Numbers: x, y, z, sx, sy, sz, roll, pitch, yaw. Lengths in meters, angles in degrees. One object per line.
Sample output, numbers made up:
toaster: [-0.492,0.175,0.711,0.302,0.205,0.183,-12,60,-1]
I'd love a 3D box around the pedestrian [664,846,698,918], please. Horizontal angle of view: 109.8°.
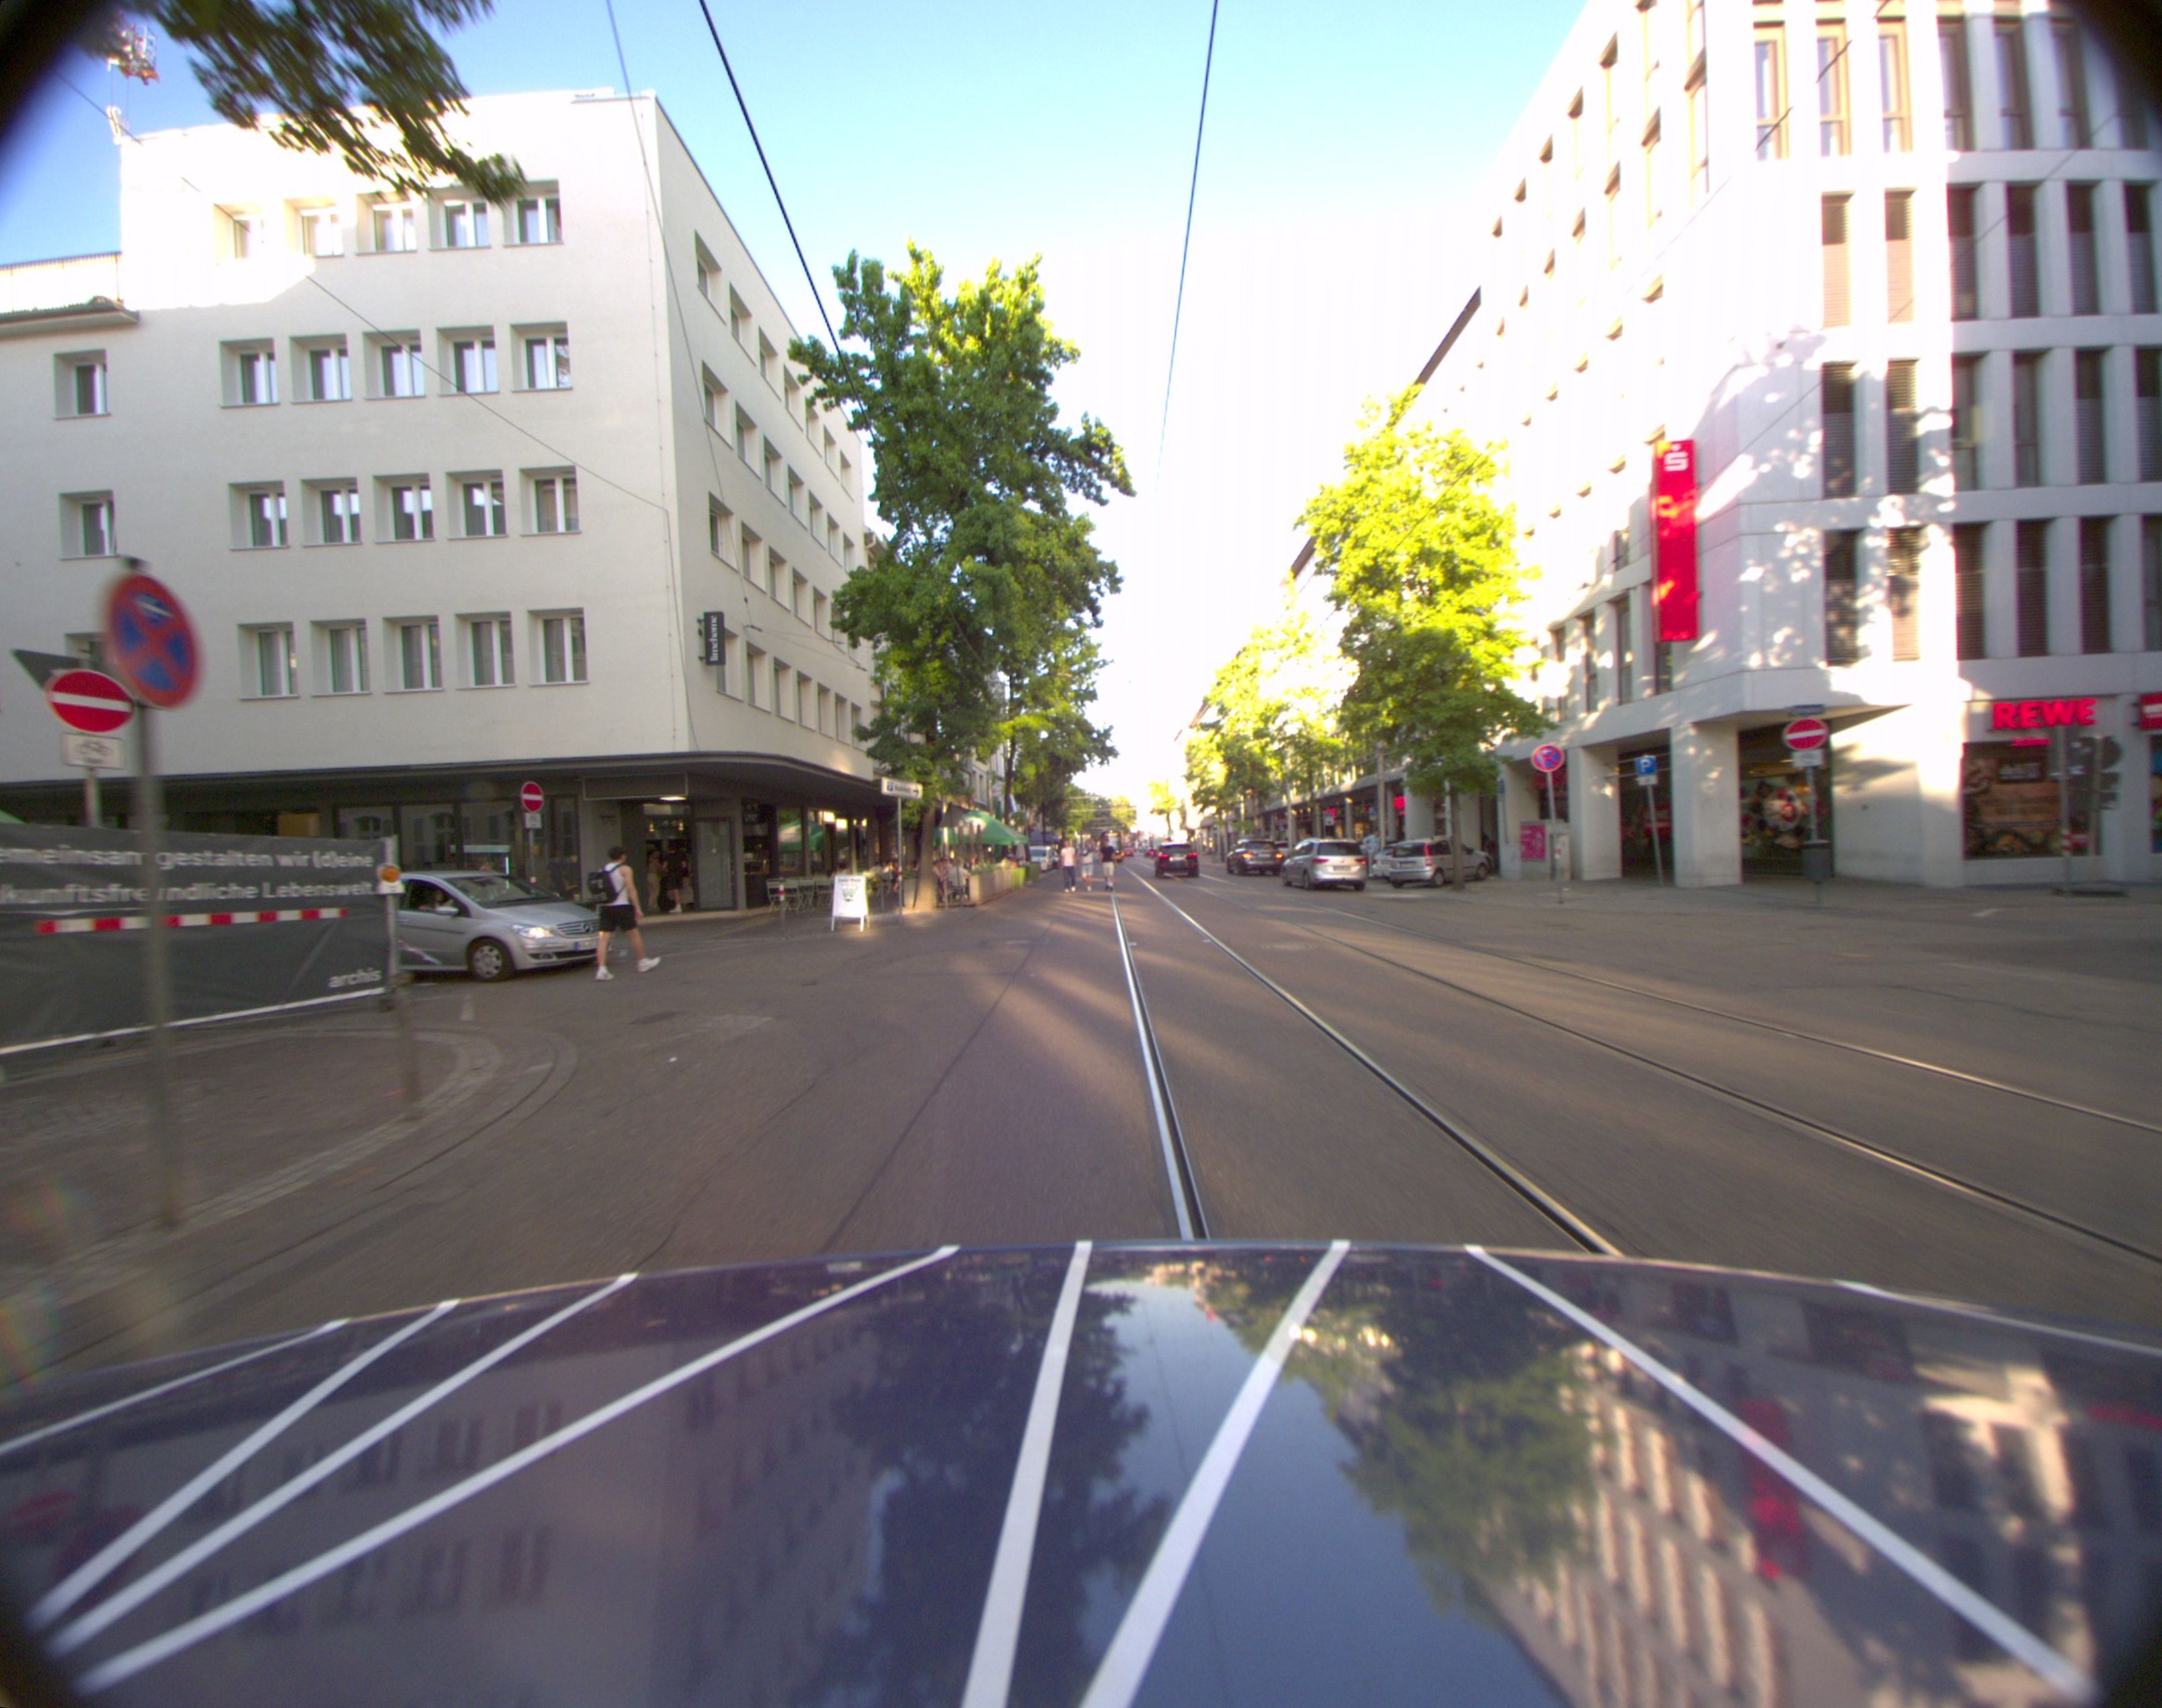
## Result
pedestrian: [-10.799,0.736,20.508,0.725,1.898,0.569,-2,1,-27]

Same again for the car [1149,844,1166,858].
car: [9.510,-0.354,94.613,1.715,1.586,3.999,-2,0,-1]

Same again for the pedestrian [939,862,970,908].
pedestrian: [-3.729,0.902,22.434,0.716,1.321,0.624,-2,1,3]

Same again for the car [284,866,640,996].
car: [-9.118,1.106,11.385,3.937,1.600,1.867,-2,3,9]

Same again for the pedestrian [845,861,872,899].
pedestrian: [-7.922,0.922,27.033,0.716,1.321,0.624,-2,1,3]

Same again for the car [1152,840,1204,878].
car: [4.640,0.222,36.889,2.039,1.677,4.200,-2,0,1]

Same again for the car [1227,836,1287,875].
car: [8.526,0.063,37.243,2.039,1.796,4.200,-1,0,1]

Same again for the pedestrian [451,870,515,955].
pedestrian: [-11.899,1.144,15.142,0.622,1.627,0.718,-2,1,19]

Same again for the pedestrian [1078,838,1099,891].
pedestrian: [0.276,0.375,28.417,0.672,1.922,0.873,-2,1,4]

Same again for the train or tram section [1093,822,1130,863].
train or tram section: [3.323,-1.224,85.256,3.607,3.974,15.716,-2,0,2]

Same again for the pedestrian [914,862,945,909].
pedestrian: [-4.471,0.927,22.489,0.716,1.321,0.624,-2,1,3]

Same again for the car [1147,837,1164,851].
car: [10.792,-1.451,110.287,1.998,1.871,4.000,-2,0,0]

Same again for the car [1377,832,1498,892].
car: [11.378,0.220,24.248,3.404,1.551,1.785,-6,2,-29]

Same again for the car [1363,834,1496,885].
car: [12.498,0.162,27.273,4.320,1.404,1.576,-5,2,-16]

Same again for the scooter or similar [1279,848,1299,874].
scooter or similar: [10.647,0.335,38.892,0.580,1.241,2.126,-2,0,4]

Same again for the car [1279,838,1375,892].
car: [7.872,0.308,24.733,1.889,1.603,4.200,0,0,1]

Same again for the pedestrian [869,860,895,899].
pedestrian: [-7.069,0.908,27.022,0.716,1.321,0.624,-2,1,3]

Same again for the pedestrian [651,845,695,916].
pedestrian: [-10.413,0.661,19.405,0.622,1.756,0.718,-1,1,33]

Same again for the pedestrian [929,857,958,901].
pedestrian: [-4.267,0.758,23.599,0.716,1.321,0.624,-2,1,3]

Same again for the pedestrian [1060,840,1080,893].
pedestrian: [-0.415,0.444,28.203,0.598,1.922,0.873,-2,1,4]

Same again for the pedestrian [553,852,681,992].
pedestrian: [-6.461,0.915,10.655,0.944,1.805,1.071,-2,3,9]

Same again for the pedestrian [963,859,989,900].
pedestrian: [-3.534,0.842,25.521,0.716,1.321,0.624,-2,1,3]

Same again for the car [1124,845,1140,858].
car: [8.163,-0.401,121.581,2.217,1.849,3.999,-2,1,0]

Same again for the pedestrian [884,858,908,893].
pedestrian: [-7.346,0.844,30.145,0.716,1.321,0.624,-2,1,3]

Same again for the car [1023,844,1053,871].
car: [-3.067,0.210,55.337,2.003,1.831,4.966,0,1,-1]

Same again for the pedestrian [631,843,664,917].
pedestrian: [-11.455,0.670,20.096,0.571,1.898,0.723,-2,1,-20]

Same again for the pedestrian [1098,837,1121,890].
pedestrian: [1.060,0.349,28.233,0.772,1.922,0.873,-2,1,4]

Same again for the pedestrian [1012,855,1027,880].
pedestrian: [-3.403,0.756,42.135,0.716,1.321,0.624,-2,1,3]

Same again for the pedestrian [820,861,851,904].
pedestrian: [-7.806,0.899,24.183,0.716,1.321,0.624,-2,1,3]

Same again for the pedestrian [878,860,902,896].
pedestrian: [-7.335,0.907,29.191,0.716,1.321,0.624,-2,1,3]

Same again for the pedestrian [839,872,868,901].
pedestrian: [-7.586,1.083,25.354,0.716,0.927,0.624,-2,1,3]

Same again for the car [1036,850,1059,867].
car: [-2.736,0.351,61.844,1.715,1.318,3.593,-2,0,-1]

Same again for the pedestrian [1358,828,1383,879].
pedestrian: [11.063,-0.029,29.057,0.656,1.922,0.723,-2,1,4]
